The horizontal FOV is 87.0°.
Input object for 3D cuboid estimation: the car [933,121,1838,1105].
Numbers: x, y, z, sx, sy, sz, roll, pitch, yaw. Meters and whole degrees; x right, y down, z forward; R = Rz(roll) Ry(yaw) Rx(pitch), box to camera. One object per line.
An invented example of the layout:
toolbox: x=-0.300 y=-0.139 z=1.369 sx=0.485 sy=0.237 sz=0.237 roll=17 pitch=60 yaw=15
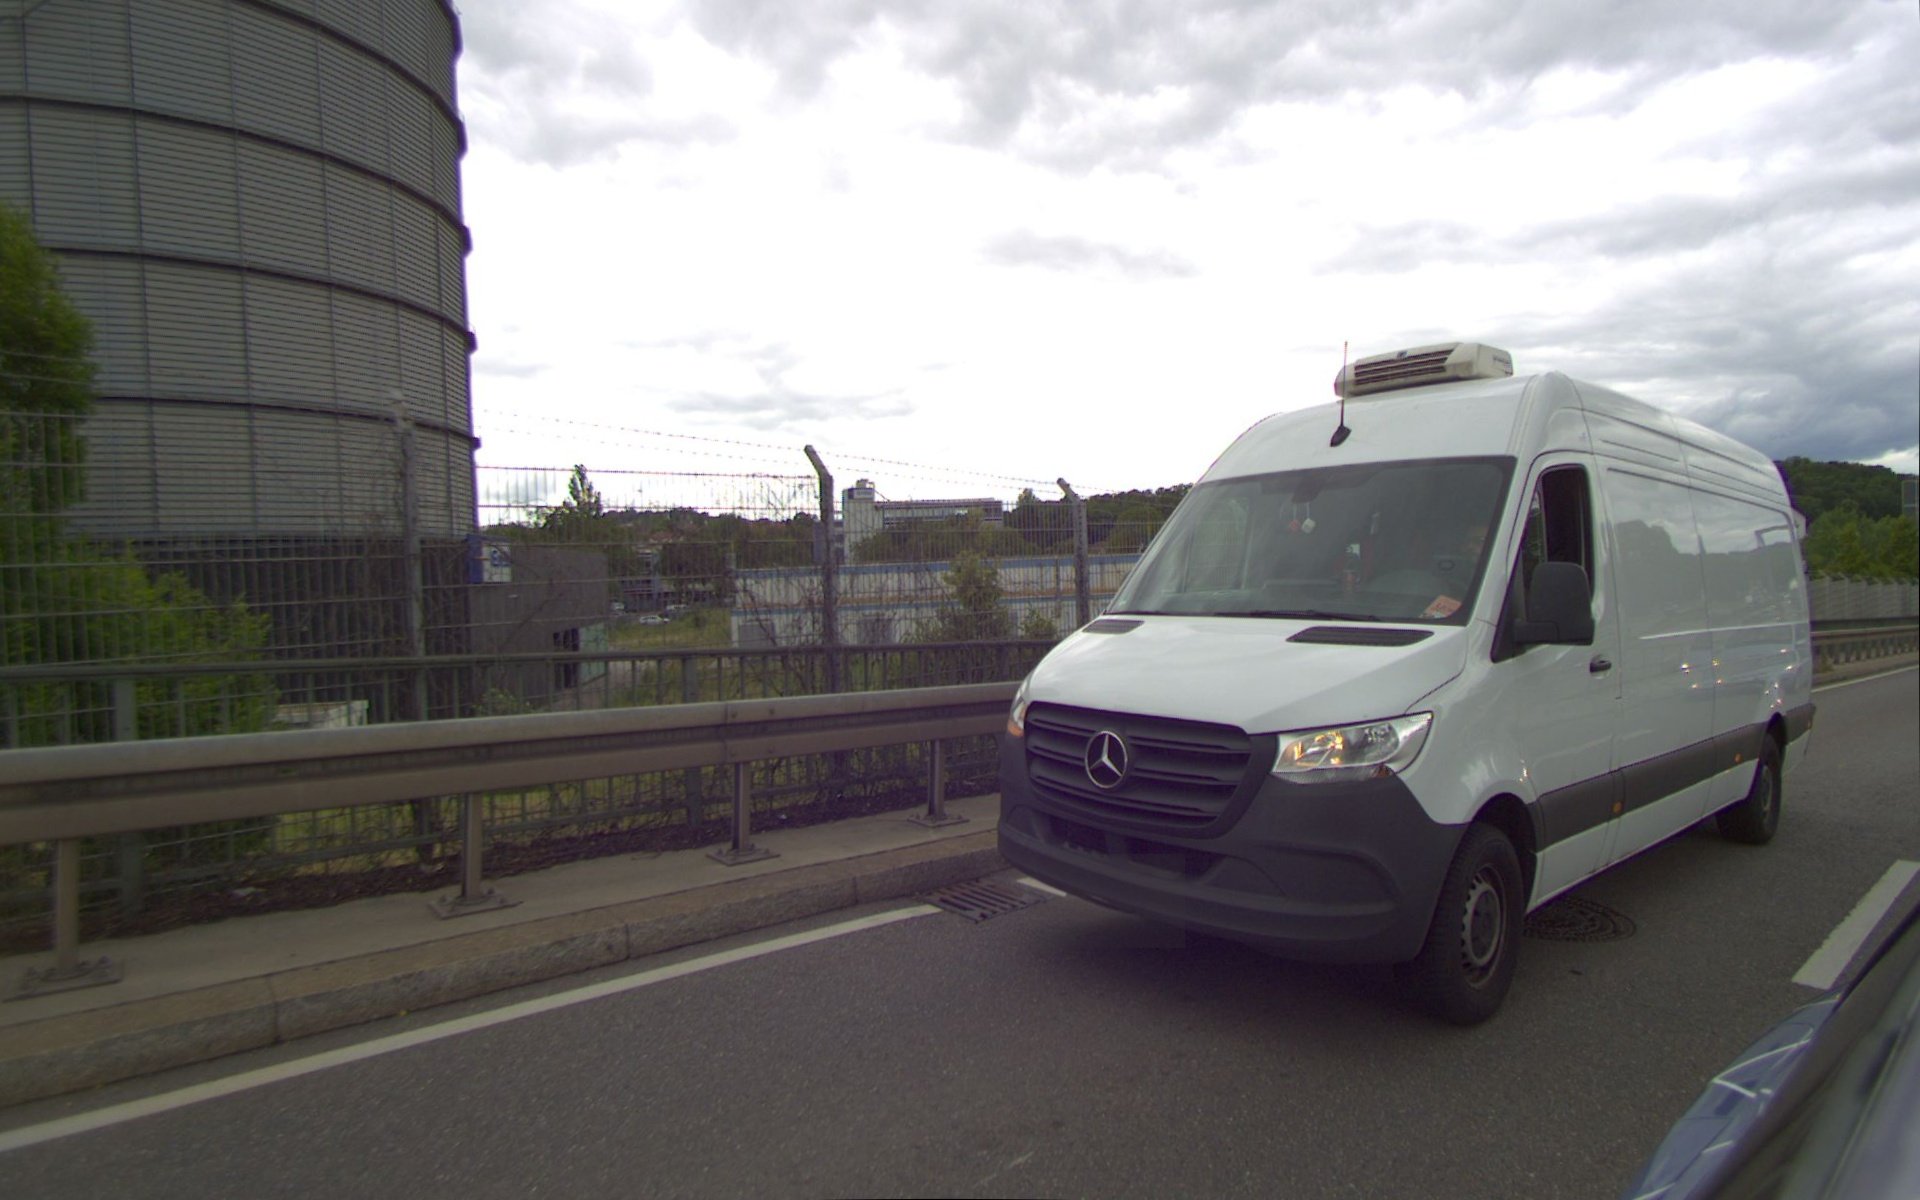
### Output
car: x=3.083 y=0.005 z=5.885 sx=6.660 sy=2.818 sz=2.114 roll=0 pitch=1 yaw=-41
